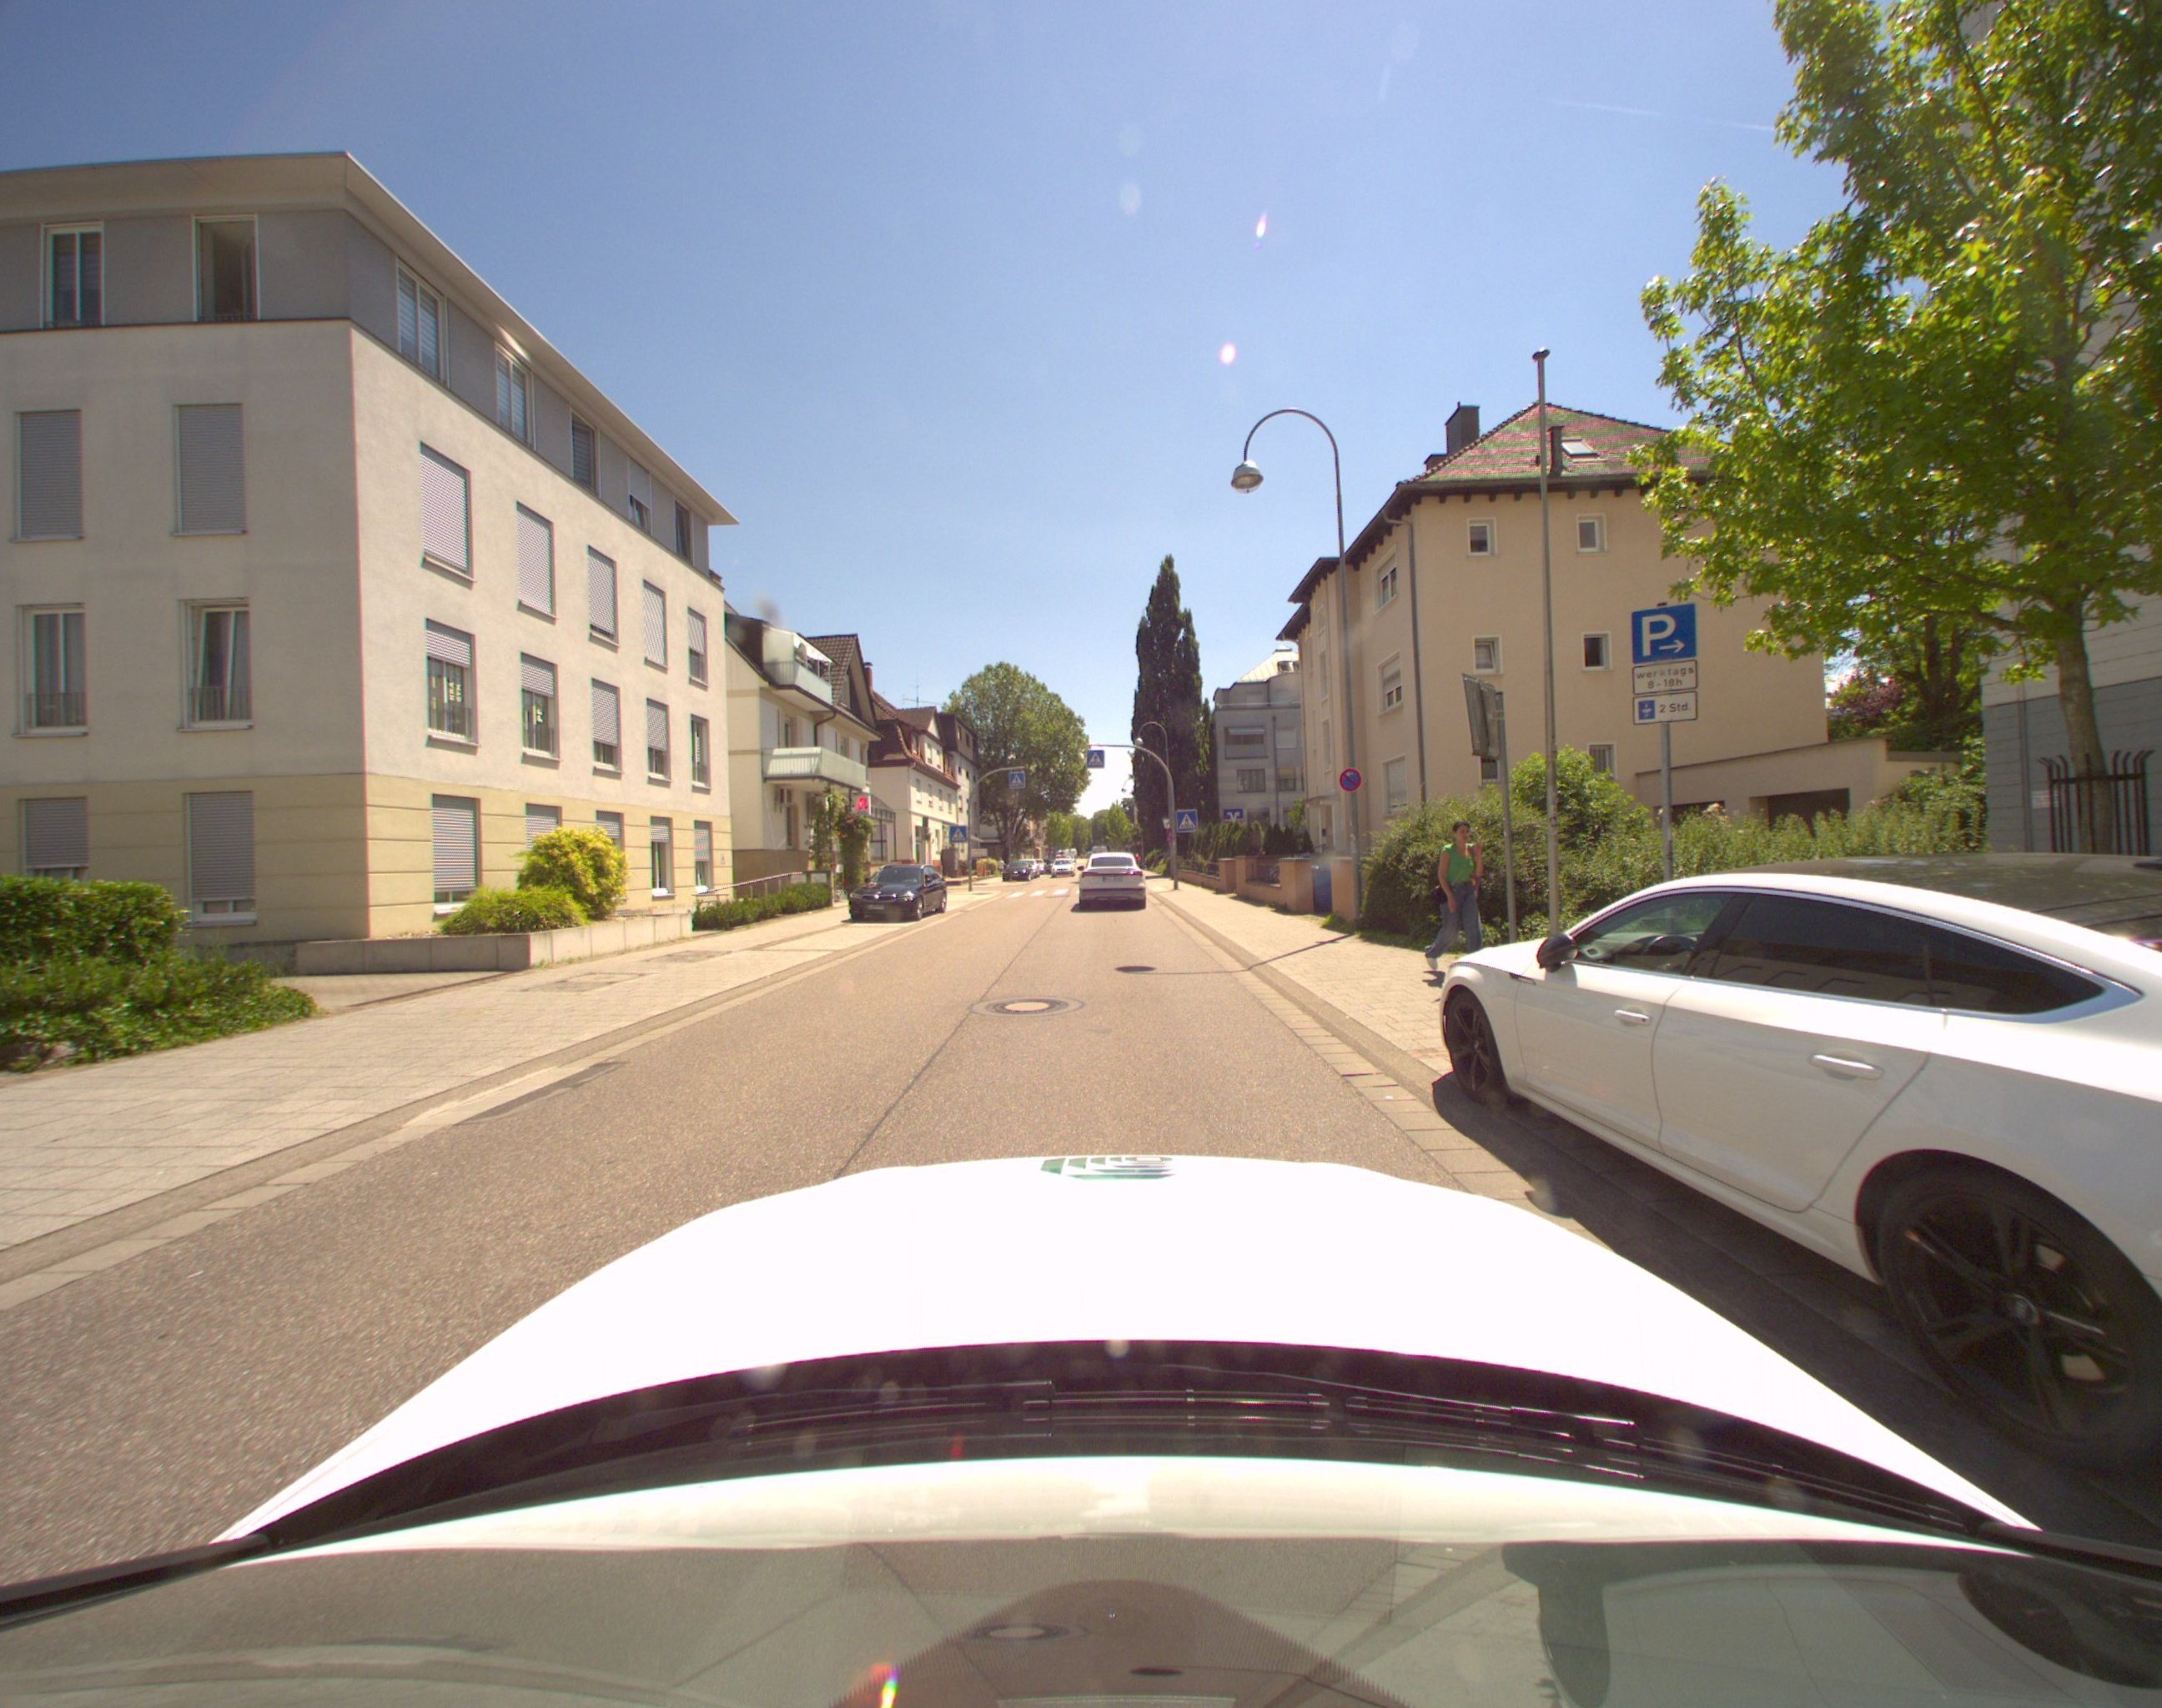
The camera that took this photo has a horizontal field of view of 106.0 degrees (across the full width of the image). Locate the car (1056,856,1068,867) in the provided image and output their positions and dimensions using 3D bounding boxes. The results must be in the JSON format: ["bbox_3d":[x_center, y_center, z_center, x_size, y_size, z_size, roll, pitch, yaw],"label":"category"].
[{"bbox_3d":[-2.861,1.117,122.587,1.746,1.702,4.102,0,0,1],"label":"car"}]

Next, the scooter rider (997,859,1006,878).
[{"bbox_3d":[-6.518,1.166,66.931,0.586,1.575,0.878,0,0,2],"label":"scooter rider"}]

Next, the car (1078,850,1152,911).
[{"bbox_3d":[0.942,0.730,24.401,1.987,1.633,3.999,-1,0,0],"label":"car"}]

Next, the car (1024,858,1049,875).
[{"bbox_3d":[-4.037,1.127,75.143,1.974,1.452,4.868,-1,0,0],"label":"car"}]

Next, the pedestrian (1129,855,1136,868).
[{"bbox_3d":[6.903,1.033,109.293,0.698,1.626,0.783,-5,-1,0],"label":"pedestrian"}]

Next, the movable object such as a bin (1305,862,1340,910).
[{"bbox_3d":[5.725,0.749,19.345,0.622,1.099,0.633,-3,-1,3],"label":"movable object such as a bin"}]

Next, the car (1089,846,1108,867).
[{"bbox_3d":[2.083,0.289,95.476,2.148,2.442,5.285,0,0,2],"label":"car"}]

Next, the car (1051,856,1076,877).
[{"bbox_3d":[-1.374,1.004,64.038,1.802,1.482,3.868,-4,0,-1],"label":"car"}]

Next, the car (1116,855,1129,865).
[{"bbox_3d":[6.251,0.856,123.191,1.888,1.438,4.548,-2,0,3],"label":"car"}]

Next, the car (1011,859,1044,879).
[{"bbox_3d":[-4.096,1.125,63.416,1.973,1.452,5.360,-1,0,2],"label":"car"}]

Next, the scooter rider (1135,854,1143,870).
[{"bbox_3d":[5.912,0.799,82.736,0.714,1.548,0.770,-3,0,-1],"label":"scooter rider"}]

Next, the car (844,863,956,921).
[{"bbox_3d":[-5.071,1.003,23.612,1.909,1.452,5.151,0,0,2],"label":"car"}]

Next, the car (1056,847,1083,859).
[{"bbox_3d":[-2.866,-0.257,208.572,7.145,2.630,2.019,-4,0,-40],"label":"car"}]

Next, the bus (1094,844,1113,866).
[{"bbox_3d":[3.515,0.131,124.703,2.649,3.221,7.308,0,0,4],"label":"bus"}]

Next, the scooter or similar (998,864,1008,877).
[{"bbox_3d":[-6.485,1.383,67.593,0.660,1.098,1.029,0,0,2],"label":"scooter or similar"}]

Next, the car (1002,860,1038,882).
[{"bbox_3d":[-4.271,1.168,57.347,1.935,1.373,5.100,-2,0,2],"label":"car"}]

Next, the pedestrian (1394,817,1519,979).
[{"bbox_3d":[4.271,0.481,9.335,0.680,1.700,1.044,-4,-1,-15],"label":"pedestrian"}]

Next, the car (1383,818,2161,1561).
[{"bbox_3d":[3.144,0.655,3.475,1.909,1.469,4.881,-3,0,1],"label":"car"}]

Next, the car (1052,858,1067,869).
[{"bbox_3d":[-3.048,1.324,116.111,1.889,1.417,5.048,0,0,1],"label":"car"}]

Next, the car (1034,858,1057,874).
[{"bbox_3d":[-3.506,1.165,81.033,1.974,1.452,5.150,-1,0,0],"label":"car"}]
